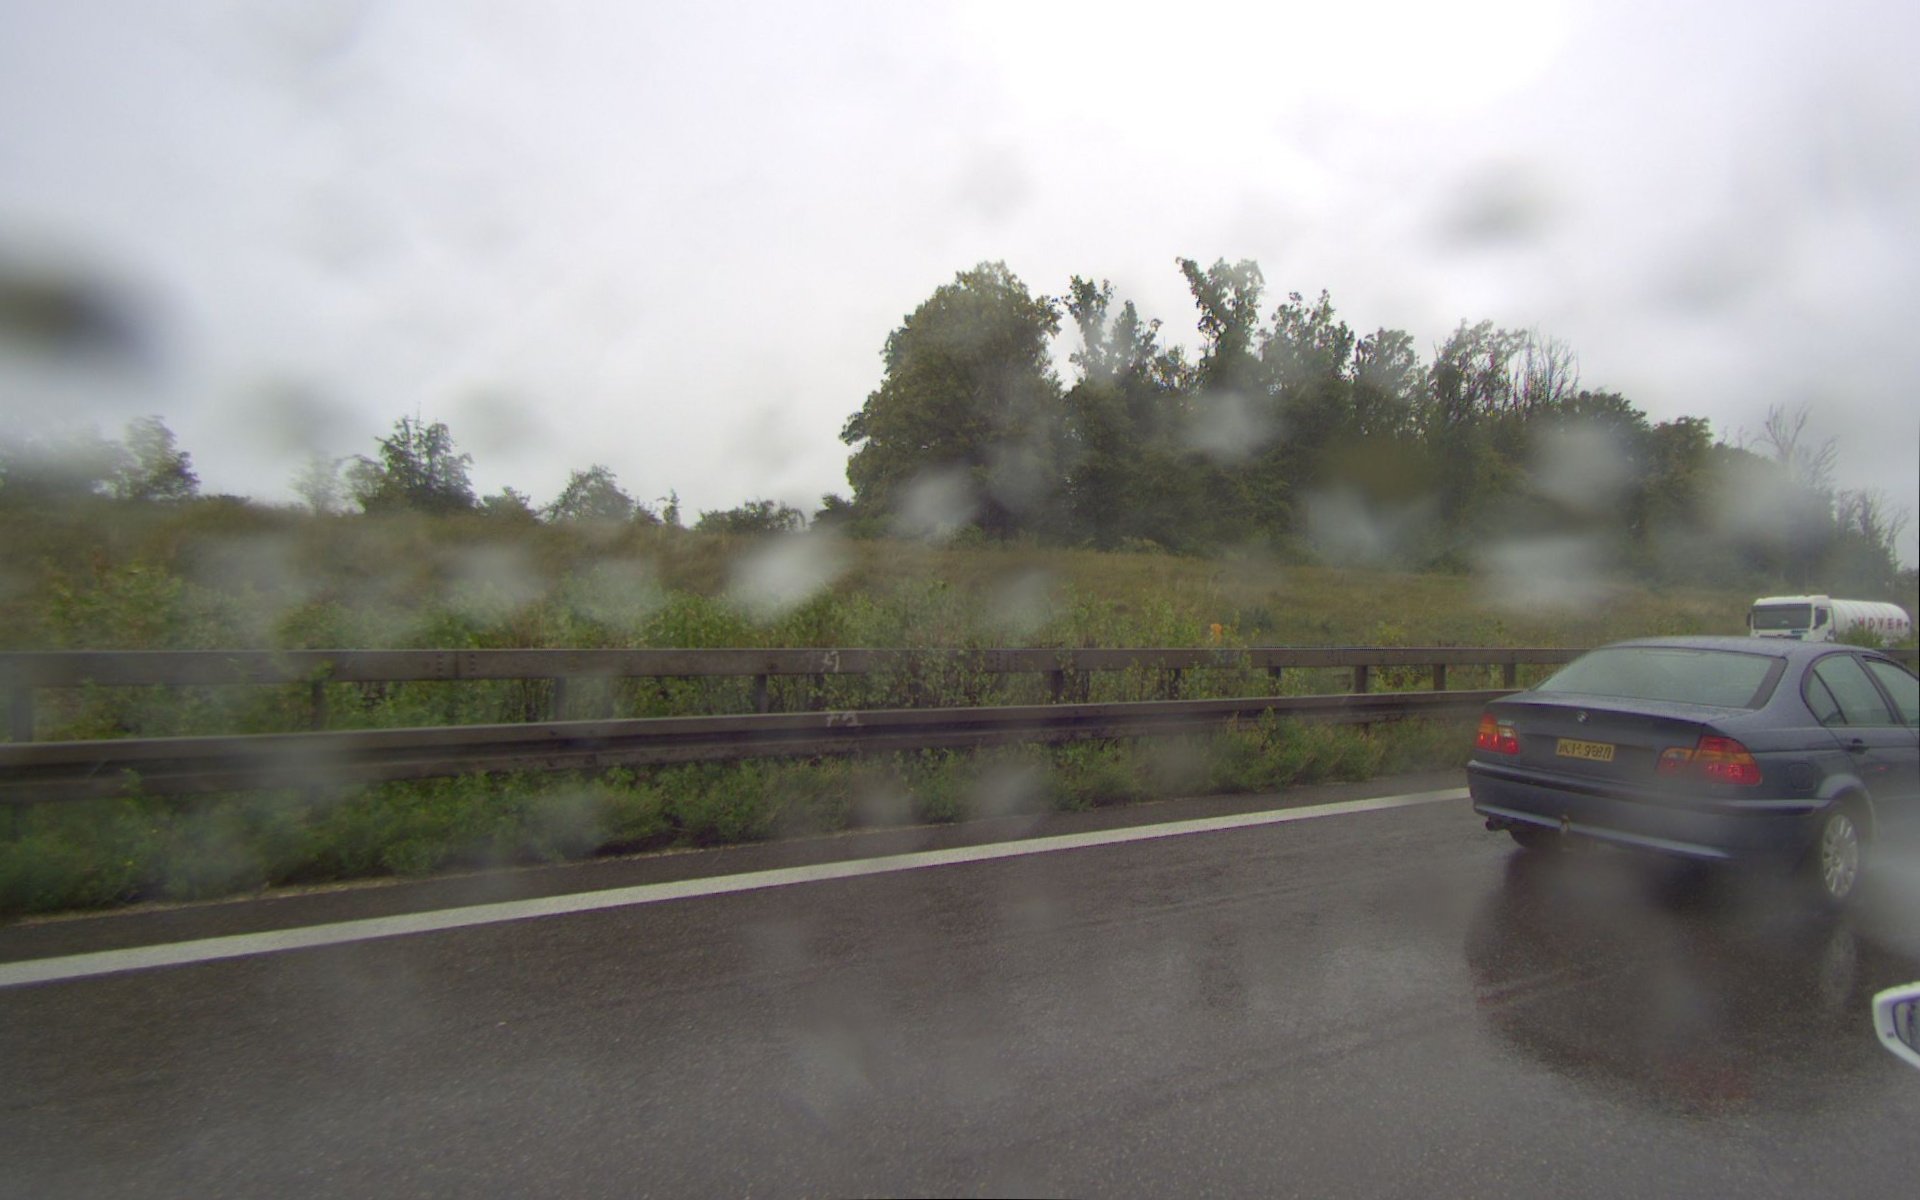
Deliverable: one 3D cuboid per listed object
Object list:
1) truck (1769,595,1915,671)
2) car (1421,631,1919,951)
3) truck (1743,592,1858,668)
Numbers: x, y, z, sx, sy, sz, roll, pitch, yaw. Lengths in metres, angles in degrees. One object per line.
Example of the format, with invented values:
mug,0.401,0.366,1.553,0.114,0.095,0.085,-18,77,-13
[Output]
truck,42.868,1.687,48.717,9.240,3.341,2.543,3,-3,-30
car,5.020,0.944,6.385,4.180,1.418,1.710,2,-1,-30
truck,38.649,1.433,46.170,5.140,3.323,2.529,2,-3,-31
